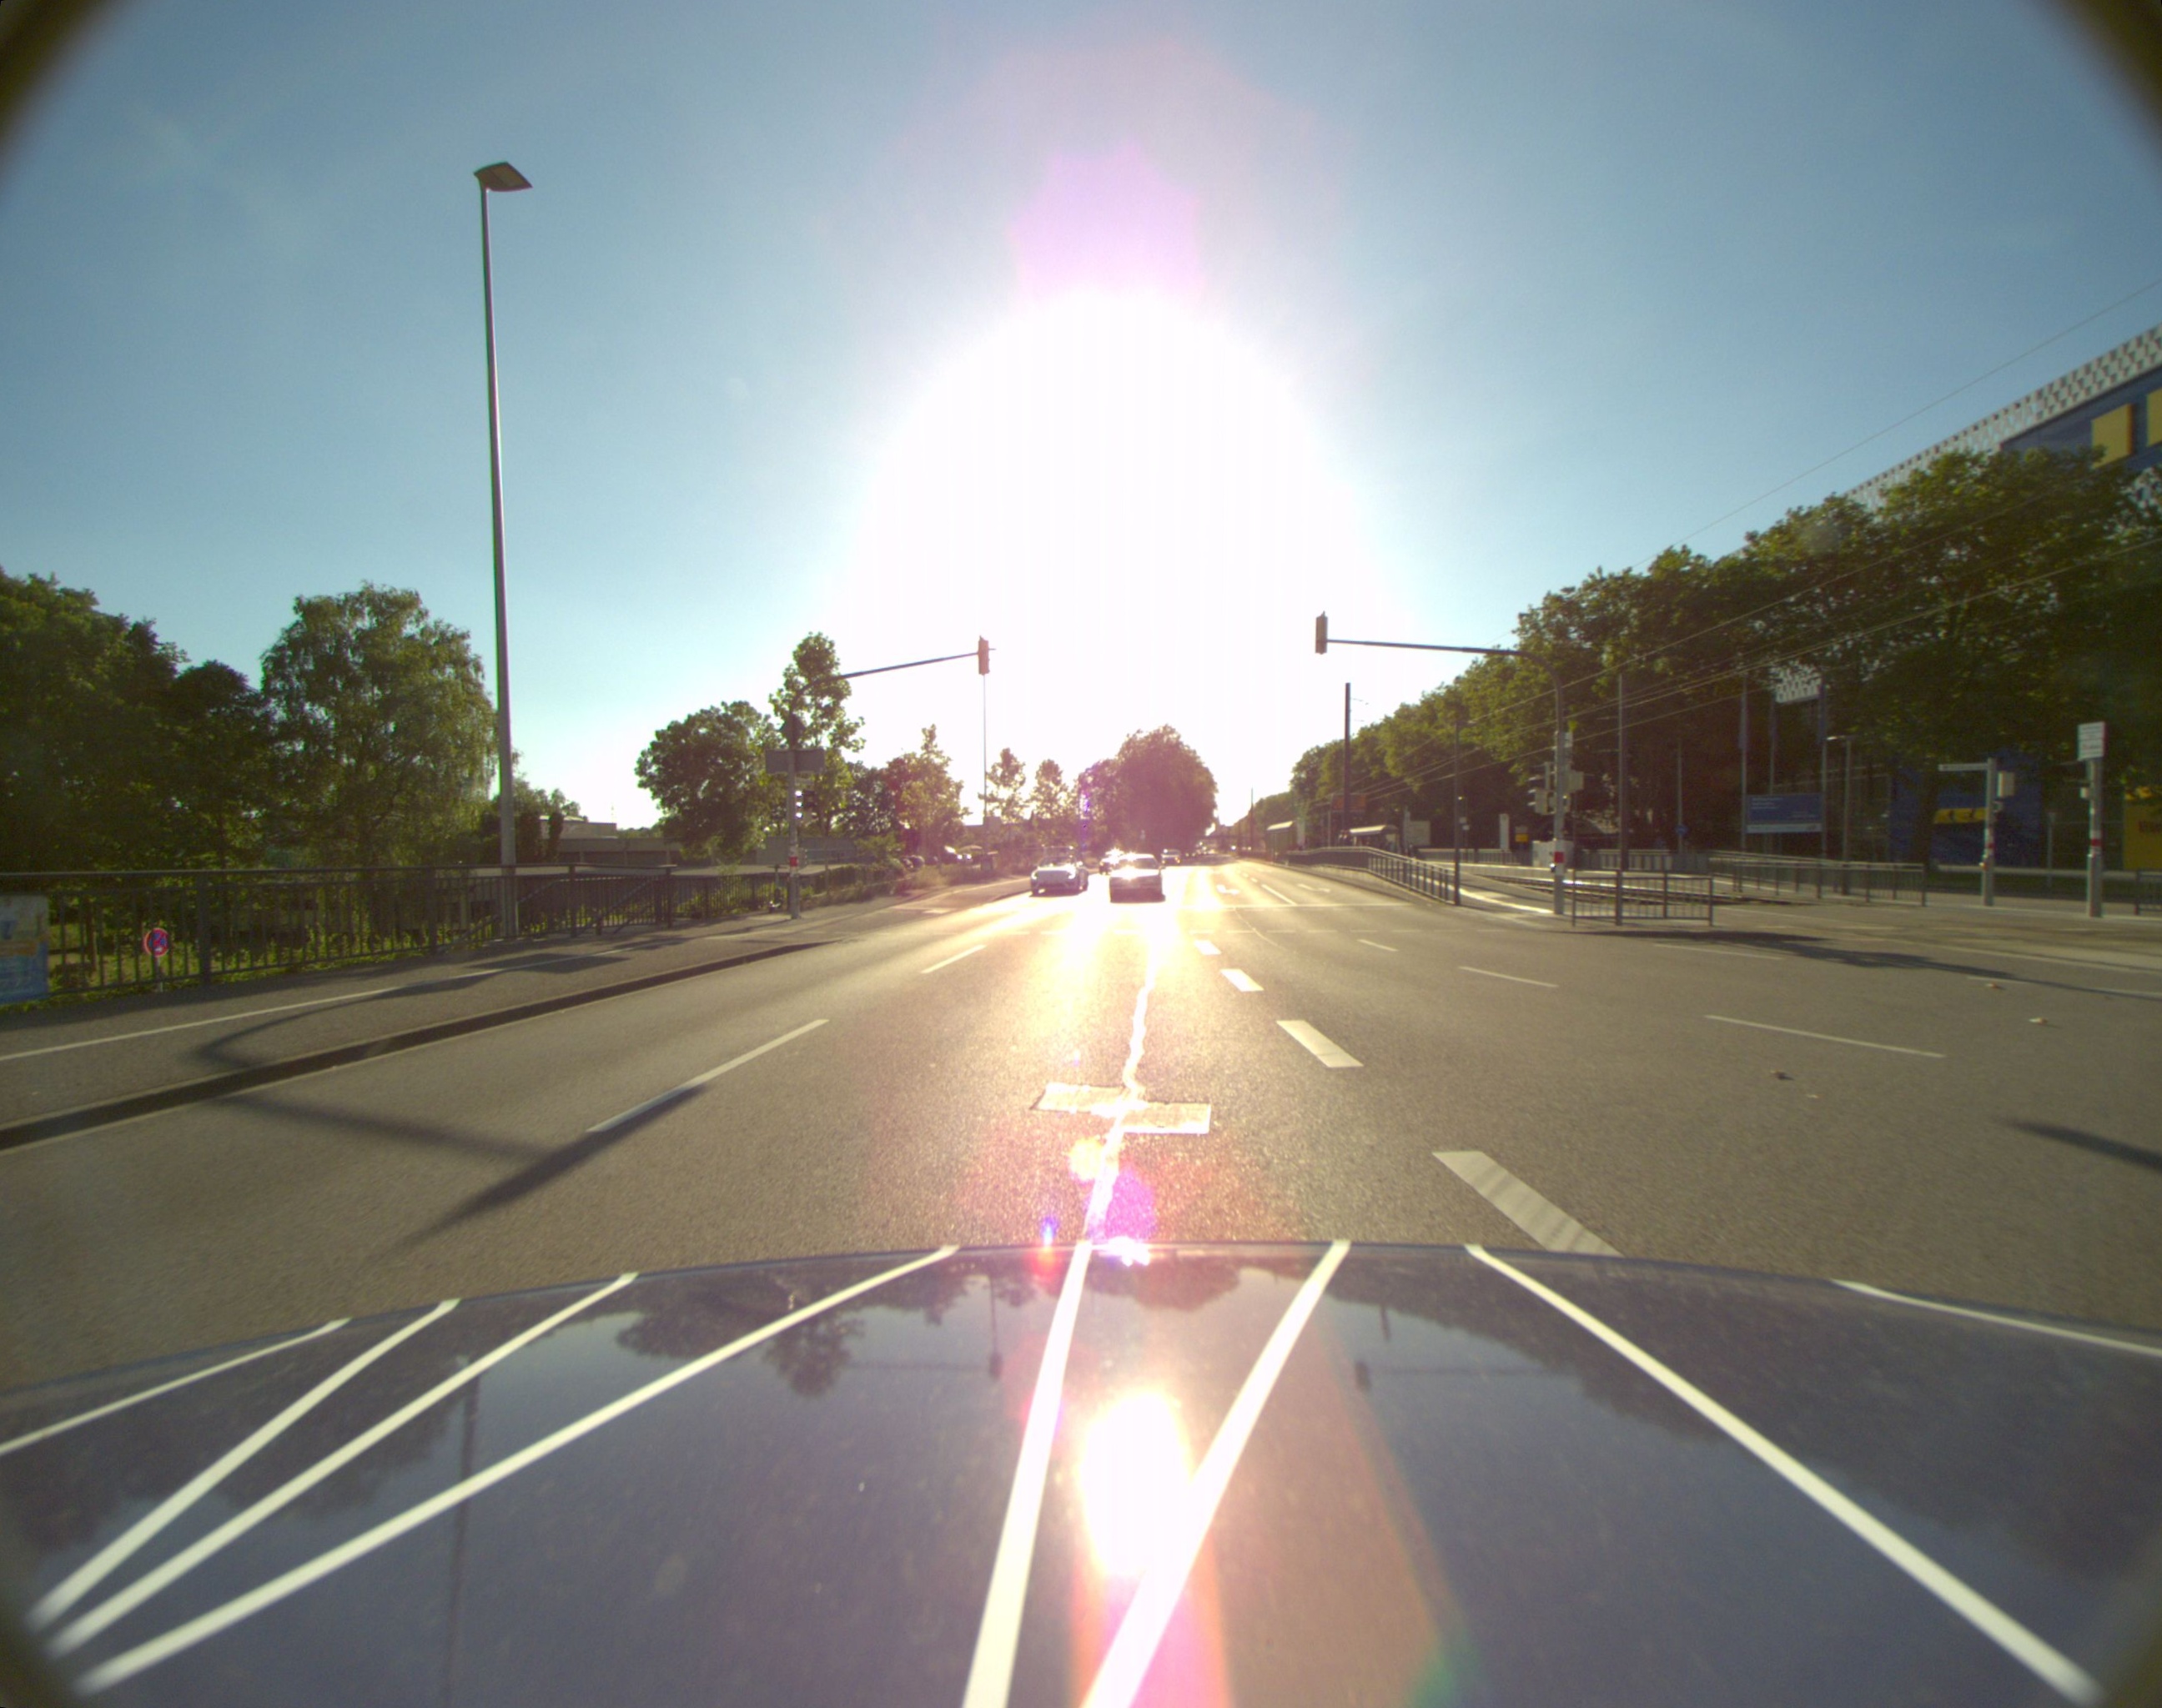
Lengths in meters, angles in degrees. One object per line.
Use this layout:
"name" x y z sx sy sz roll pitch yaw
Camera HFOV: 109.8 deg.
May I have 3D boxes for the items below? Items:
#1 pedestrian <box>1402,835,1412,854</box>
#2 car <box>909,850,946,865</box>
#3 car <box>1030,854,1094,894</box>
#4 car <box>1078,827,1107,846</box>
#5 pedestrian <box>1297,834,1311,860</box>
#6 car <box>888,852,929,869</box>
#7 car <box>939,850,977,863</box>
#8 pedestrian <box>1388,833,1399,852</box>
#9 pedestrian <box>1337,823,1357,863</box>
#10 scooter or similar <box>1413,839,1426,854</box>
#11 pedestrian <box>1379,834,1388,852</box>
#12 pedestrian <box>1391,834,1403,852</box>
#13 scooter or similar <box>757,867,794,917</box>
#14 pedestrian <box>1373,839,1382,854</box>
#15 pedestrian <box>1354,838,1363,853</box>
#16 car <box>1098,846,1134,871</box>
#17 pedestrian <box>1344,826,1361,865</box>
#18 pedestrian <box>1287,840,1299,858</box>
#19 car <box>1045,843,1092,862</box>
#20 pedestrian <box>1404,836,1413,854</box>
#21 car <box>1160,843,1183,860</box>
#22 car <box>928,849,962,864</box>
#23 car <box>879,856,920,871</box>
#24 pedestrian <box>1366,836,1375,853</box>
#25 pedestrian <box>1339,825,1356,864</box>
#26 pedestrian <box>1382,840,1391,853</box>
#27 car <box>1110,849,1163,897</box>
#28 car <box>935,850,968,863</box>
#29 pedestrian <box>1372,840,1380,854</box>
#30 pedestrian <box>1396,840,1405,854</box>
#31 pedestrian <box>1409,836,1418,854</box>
"pedestrian" 29.311 -0.859 68.272 0.652 1.709 0.636 -2 1 13
"car" -18.551 0.420 91.933 4.028 1.577 1.686 -3 0 6
"car" -0.680 0.743 30.164 1.855 1.415 3.982 -1 0 8
"car" 1.699 -2.439 106.547 2.937 2.607 5.927 -1 1 13
"pedestrian" 15.117 -0.487 51.519 0.695 1.706 0.822 -2 1 4
"car" -18.986 0.726 83.767 3.916 1.657 1.707 -3 2 6
"car" -16.459 0.329 101.845 4.658 1.560 1.860 -3 0 6
"pedestrian" 29.557 -1.075 71.838 0.733 1.810 0.687 -3 1 -1
"pedestrian" 12.009 -0.510 34.313 0.708 1.765 0.536 -3 1 13
"scooter or similar" 28.780 -0.632 64.587 0.665 1.227 1.373 -1 1 8
"pedestrian" 29.141 -1.035 73.212 0.654 1.732 0.686 -3 1 12
"pedestrian" 29.544 -1.008 71.122 0.733 1.682 0.687 -3 1 -1
"scooter or similar" -8.012 0.976 19.950 0.525 1.224 1.266 0 1 -5
"pedestrian" 30.447 -0.747 77.911 0.671 1.483 0.577 -1 1 -4
"pedestrian" 30.771 -0.958 84.201 0.762 1.700 0.678 -2 2 10
"car" 2.349 0.261 50.111 1.739 1.502 4.003 -2 0 11
"pedestrian" 11.675 -0.379 32.698 0.534 1.647 0.751 -2 1 11
"pedestrian" 15.513 -0.374 55.656 0.681 1.224 0.879 -3 1 9
"car" -1.533 -0.137 91.730 5.347 2.010 2.105 -3 0 7
"pedestrian" 29.213 -0.804 67.773 0.652 1.611 0.636 -2 1 13
"car" 8.334 -0.209 69.696 1.870 1.422 3.833 -3 0 10
"car" -17.287 0.298 96.796 3.871 1.631 1.665 -3 0 8
"car" -19.335 1.033 80.900 3.791 1.389 1.739 -2 3 4
"pedestrian" 28.563 -0.944 74.908 0.661 1.623 0.777 -2 1 10
"pedestrian" 11.784 -0.424 33.634 0.534 1.683 0.761 -3 1 11
"pedestrian" 29.861 -0.768 74.243 0.654 1.245 0.686 -3 1 6
"car" 1.870 0.595 25.847 1.602 1.440 3.800 -2 0 4
"car" -16.854 0.325 99.296 3.835 1.577 1.724 -3 0 8
"pedestrian" 30.438 -0.732 78.492 0.615 1.460 0.544 -1 1 1
"pedestrian" 29.158 -0.627 69.270 0.603 1.217 0.618 -2 1 13
"pedestrian" 29.106 -0.780 66.536 0.603 1.611 0.691 -2 1 13
